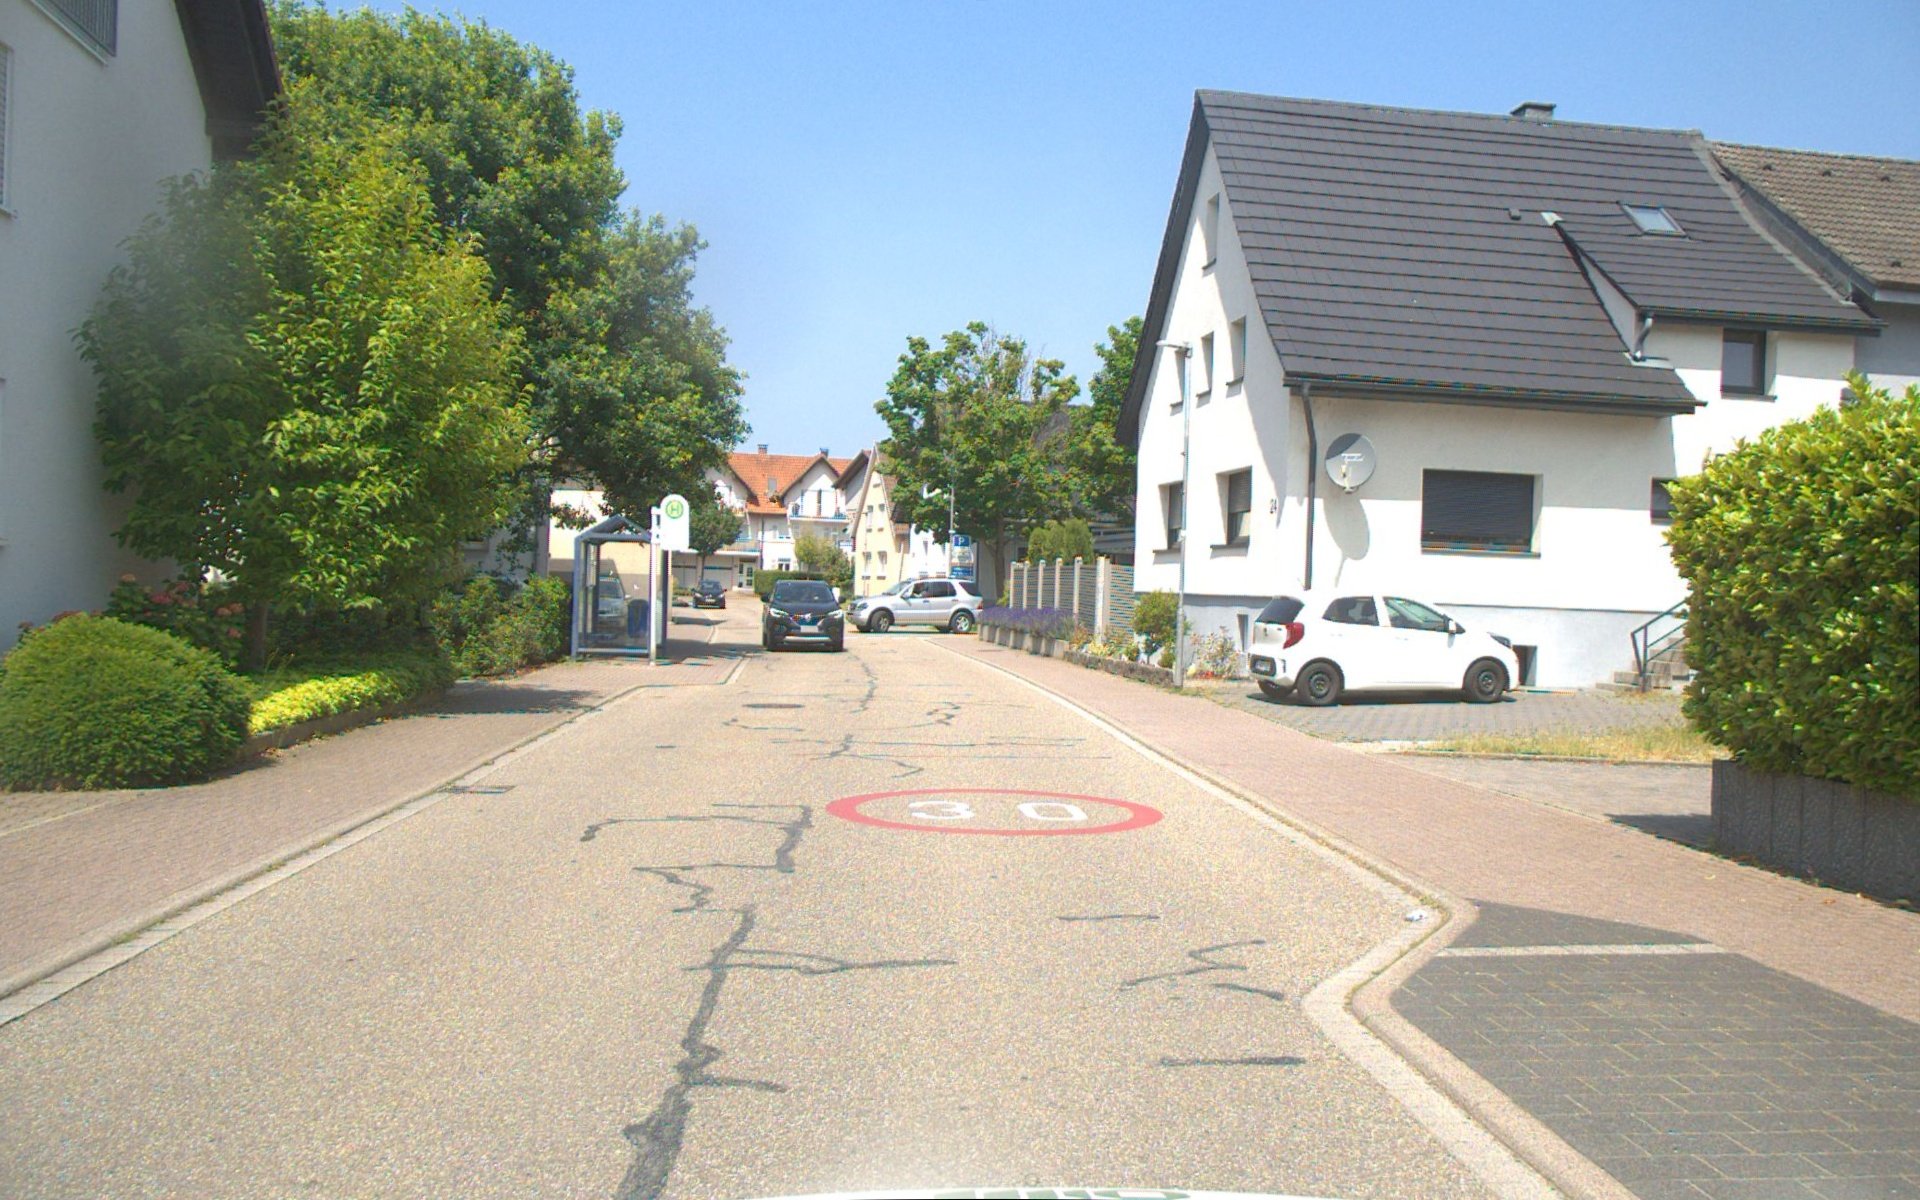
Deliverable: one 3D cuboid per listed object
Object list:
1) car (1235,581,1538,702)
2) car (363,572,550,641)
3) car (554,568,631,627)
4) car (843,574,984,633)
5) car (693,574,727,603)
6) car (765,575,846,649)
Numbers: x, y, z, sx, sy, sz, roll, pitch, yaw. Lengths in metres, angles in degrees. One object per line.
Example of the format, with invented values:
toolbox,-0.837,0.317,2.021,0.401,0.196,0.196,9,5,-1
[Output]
car,5.732,0.521,22.414,3.592,1.500,1.761,0,2,-11
car,-12.086,0.130,39.932,4.082,1.565,1.770,-1,1,-9
car,-9.775,-0.097,44.229,1.746,1.459,4.047,2,1,-10
car,-1.514,0.104,53.633,4.249,1.797,1.883,0,2,-18
car,-13.553,-0.619,89.639,1.598,1.512,3.988,0,1,-12
car,-3.724,0.254,39.367,1.742,1.651,4.099,1,1,-7
